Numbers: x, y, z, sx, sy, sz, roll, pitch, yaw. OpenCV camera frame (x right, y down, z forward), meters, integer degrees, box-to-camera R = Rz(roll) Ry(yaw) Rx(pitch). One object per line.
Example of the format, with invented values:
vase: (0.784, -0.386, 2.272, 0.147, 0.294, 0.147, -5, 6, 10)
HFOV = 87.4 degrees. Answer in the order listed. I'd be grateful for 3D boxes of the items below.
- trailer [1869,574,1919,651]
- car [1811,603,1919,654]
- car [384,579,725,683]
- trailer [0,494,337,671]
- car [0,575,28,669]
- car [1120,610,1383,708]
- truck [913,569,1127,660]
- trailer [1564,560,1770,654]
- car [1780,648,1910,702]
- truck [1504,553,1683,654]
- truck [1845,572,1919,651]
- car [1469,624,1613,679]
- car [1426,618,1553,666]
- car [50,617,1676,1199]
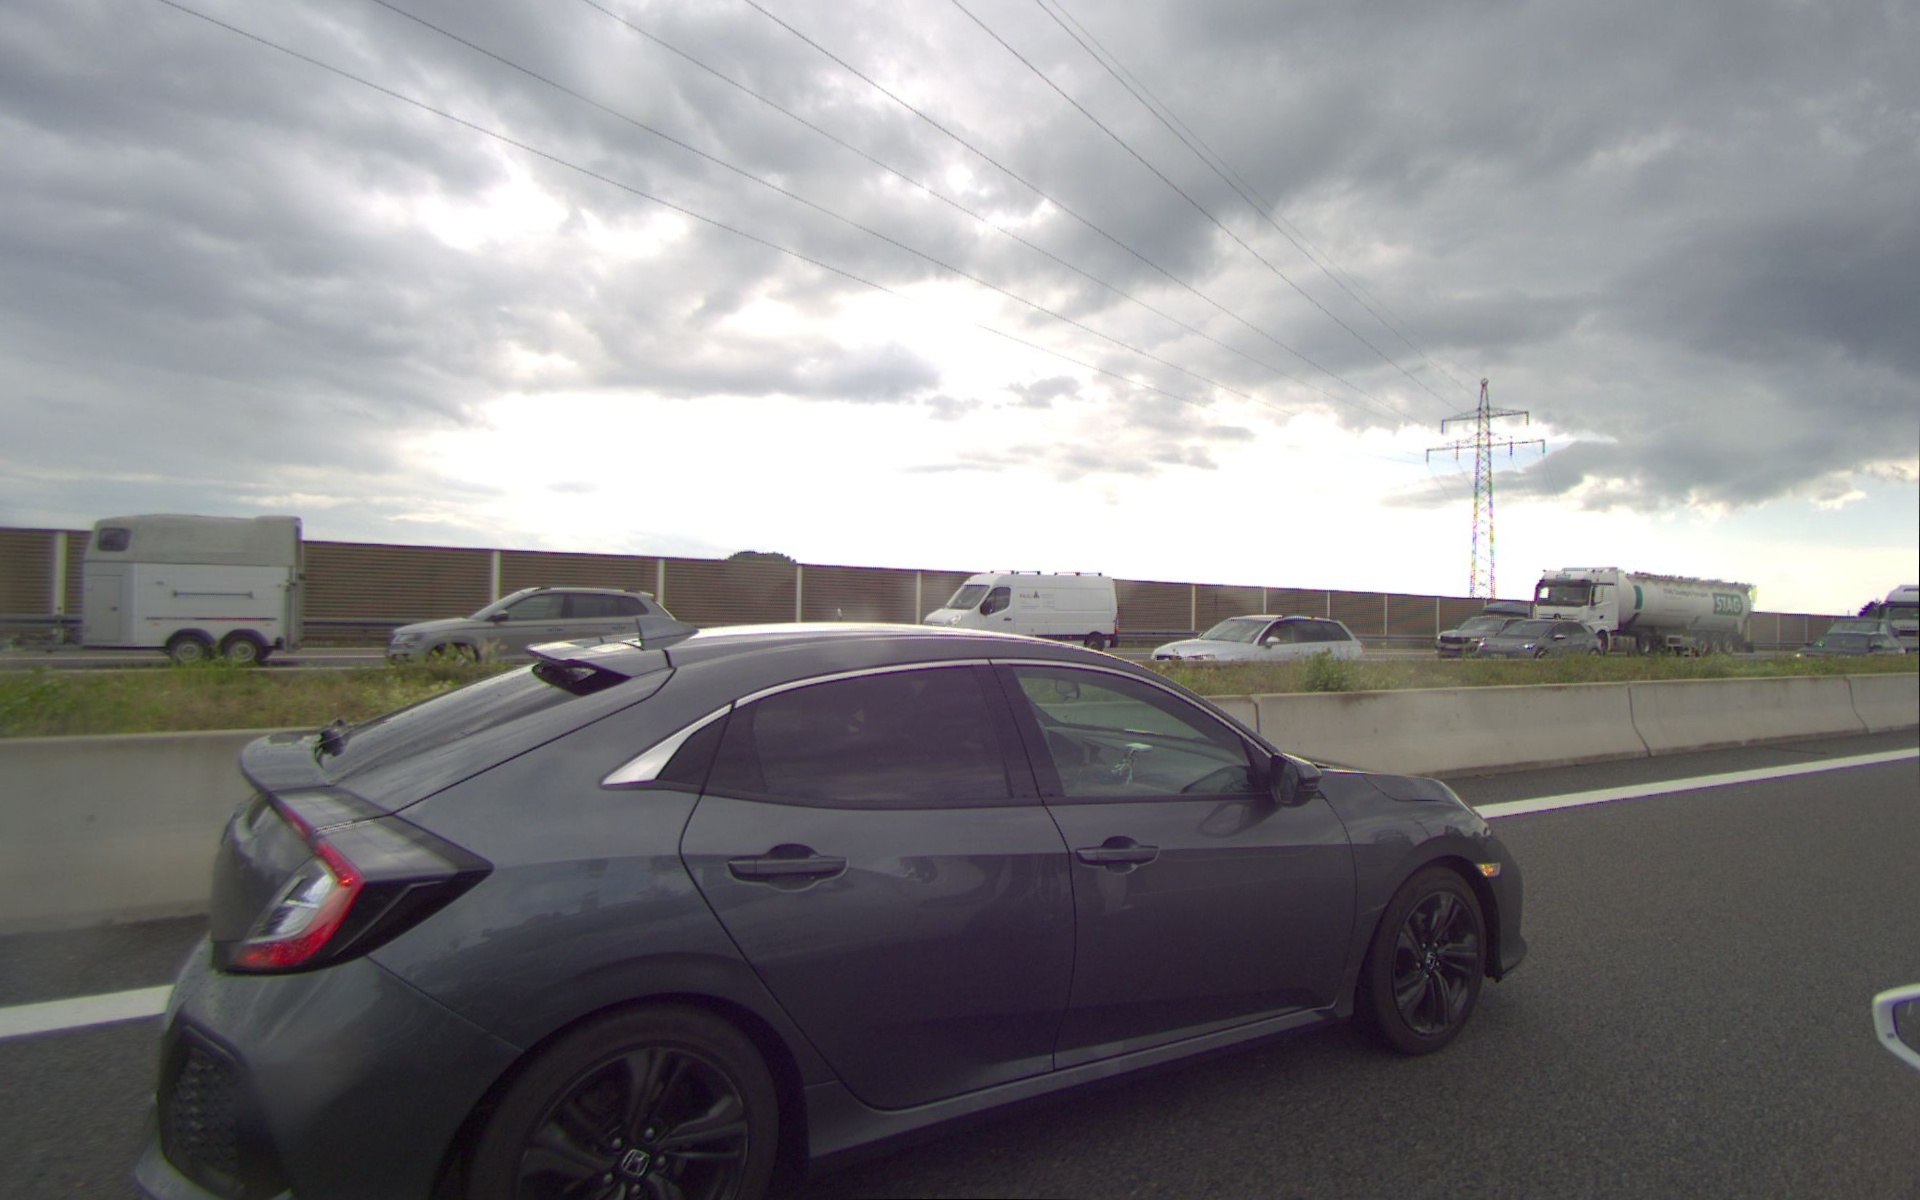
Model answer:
trailer: (57.696, 0.836, 58.033, 13.238, 4.163, 3.643, 2, 0, -30)
car: (38.574, 1.215, 42.215, 6.011, 1.994, 2.271, 2, 0, -29)
car: (-6.500, 0.482, 16.288, 4.887, 1.473, 1.955, 2, 0, -31)
trailer: (-14.832, -0.254, 19.222, 4.845, 3.002, 2.236, 2, 0, -31)
car: (-18.992, 0.320, 16.695, 4.766, 1.616, 1.955, 2, 0, -31)
car: (5.354, 1.006, 18.263, 4.688, 1.546, 1.983, 1, 0, -32)
truck: (1.849, 0.443, 29.827, 6.192, 2.484, 2.092, 2, 0, -31)
trailer: (35.716, 0.432, 50.499, 12.322, 4.293, 3.642, 2, 0, -31)
car: (27.693, 2.289, 31.392, 4.513, 1.473, 1.778, 2, 0, -31)
truck: (29.606, 0.216, 46.881, 8.141, 4.376, 3.642, 2, 0, -30)
truck: (52.182, 0.641, 54.952, 6.446, 4.102, 3.644, 2, 0, -29)
car: (17.423, 1.527, 30.083, 4.513, 1.473, 1.778, 2, 0, -31)
car: (18.160, 1.412, 34.397, 4.513, 1.488, 1.778, 2, 0, -31)
car: (0.329, 0.802, 3.572, 5.001, 1.387, 1.752, 1, 0, -31)
